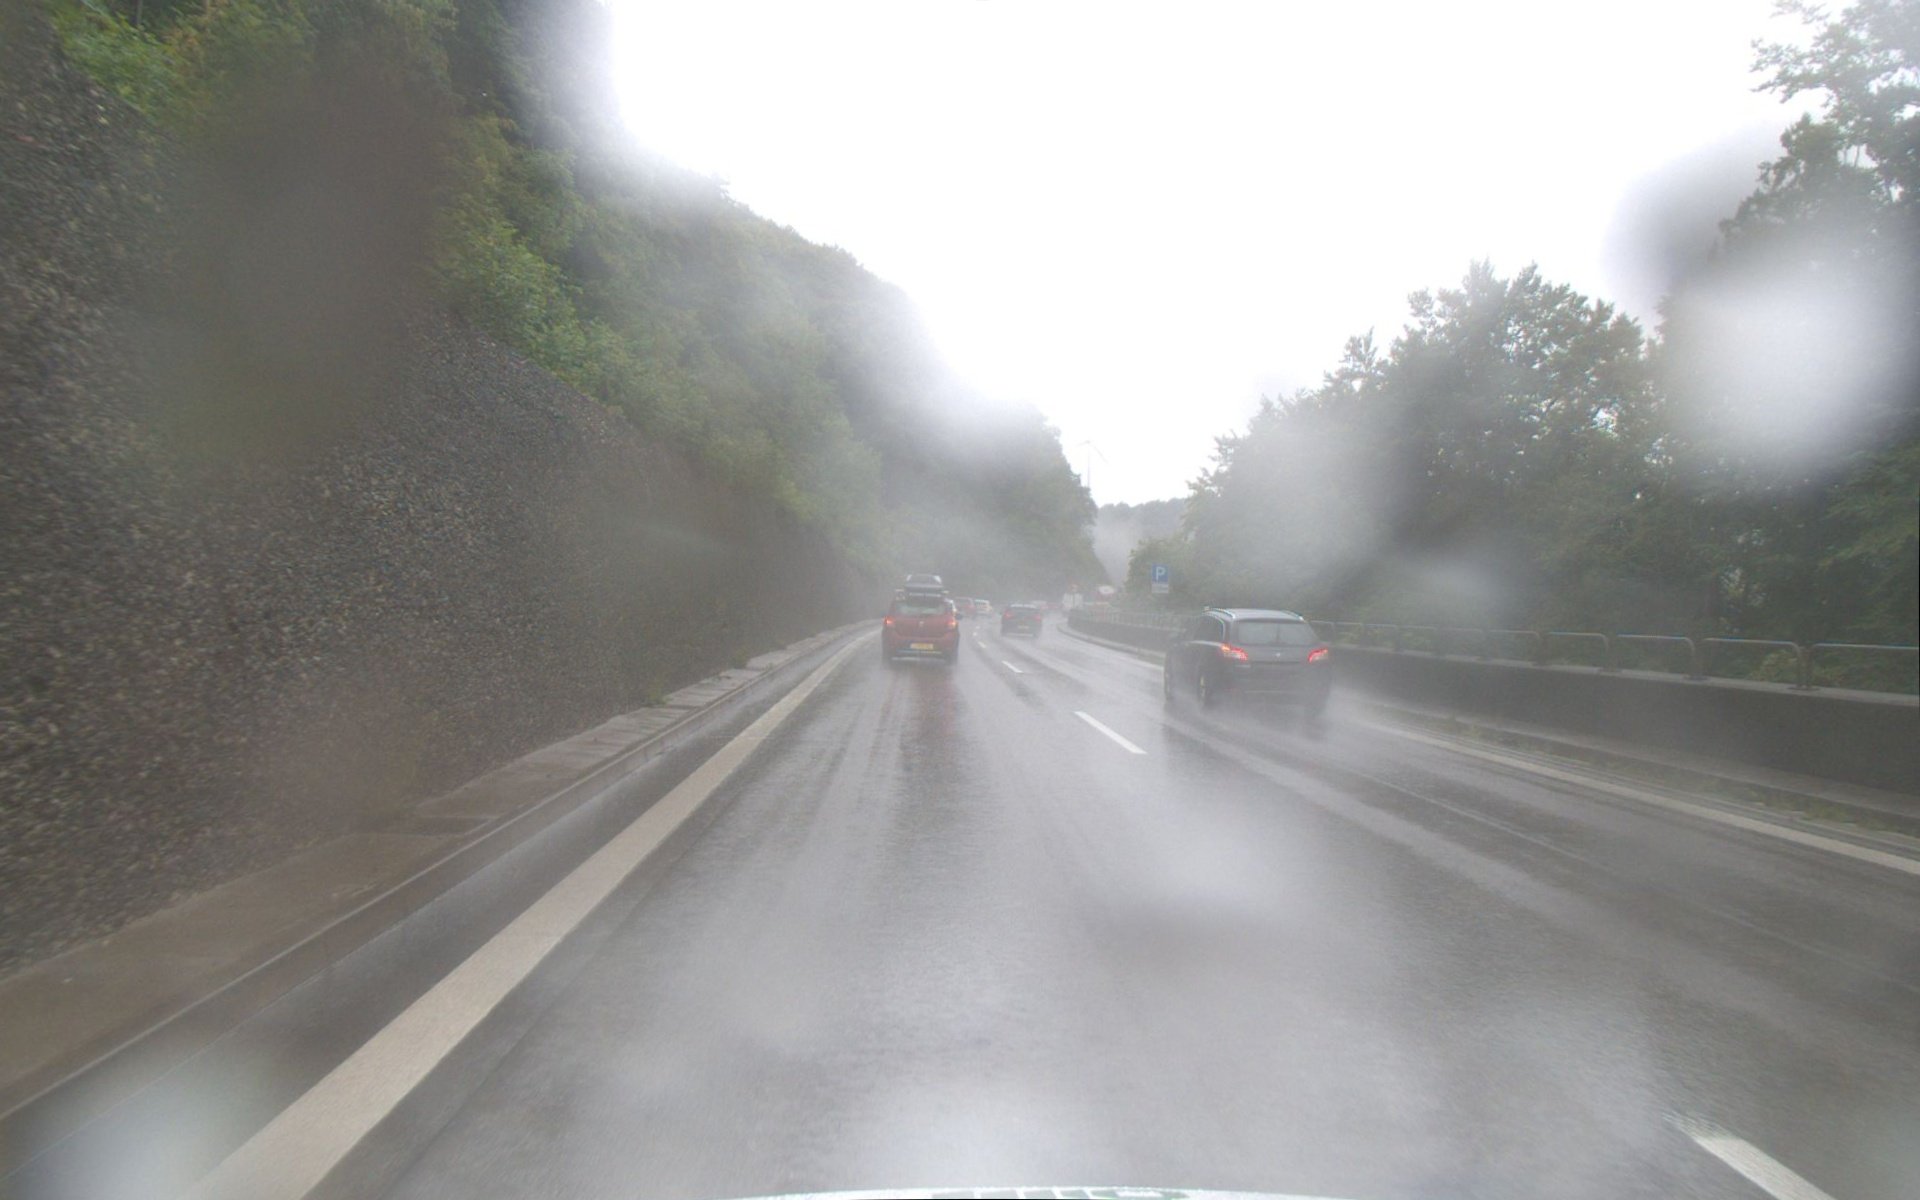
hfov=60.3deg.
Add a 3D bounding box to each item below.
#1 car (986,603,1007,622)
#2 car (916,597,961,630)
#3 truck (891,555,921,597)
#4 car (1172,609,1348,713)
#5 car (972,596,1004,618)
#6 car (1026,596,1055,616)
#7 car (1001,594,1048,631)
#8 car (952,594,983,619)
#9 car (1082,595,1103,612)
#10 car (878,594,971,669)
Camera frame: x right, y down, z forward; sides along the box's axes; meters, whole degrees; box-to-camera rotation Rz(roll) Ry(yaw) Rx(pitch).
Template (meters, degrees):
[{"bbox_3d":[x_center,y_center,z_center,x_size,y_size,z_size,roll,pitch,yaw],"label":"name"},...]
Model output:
[{"bbox_3d":[3.500,1.178,159.430,1.953,1.780,4.000,-1,0,0],"label":"car"},{"bbox_3d":[-0.979,0.566,73.929,1.953,1.378,3.999,2,0,-2],"label":"car"},{"bbox_3d":[-3.693,-1.620,114.665,1.953,2.799,5.585,2,0,-2],"label":"truck"},{"bbox_3d":[4.256,0.823,24.057,1.764,1.330,3.999,1,0,-1],"label":"car"},{"bbox_3d":[2.350,0.600,137.134,1.827,1.724,4.003,-1,-1,14],"label":"car"},{"bbox_3d":[7.316,0.546,150.231,1.786,1.749,4.003,1,0,15],"label":"car"},{"bbox_3d":[2.859,0.544,74.134,1.953,1.579,4.000,0,0,0],"label":"car"},{"bbox_3d":[0.553,0.422,117.186,1.827,1.713,4.002,1,0,5],"label":"car"},{"bbox_3d":[16.484,0.456,205.768,2.397,2.049,4.740,1,0,7],"label":"car"},{"bbox_3d":[-0.837,0.695,37.419,1.953,1.579,3.998,-1,-1,-2],"label":"car"}]
